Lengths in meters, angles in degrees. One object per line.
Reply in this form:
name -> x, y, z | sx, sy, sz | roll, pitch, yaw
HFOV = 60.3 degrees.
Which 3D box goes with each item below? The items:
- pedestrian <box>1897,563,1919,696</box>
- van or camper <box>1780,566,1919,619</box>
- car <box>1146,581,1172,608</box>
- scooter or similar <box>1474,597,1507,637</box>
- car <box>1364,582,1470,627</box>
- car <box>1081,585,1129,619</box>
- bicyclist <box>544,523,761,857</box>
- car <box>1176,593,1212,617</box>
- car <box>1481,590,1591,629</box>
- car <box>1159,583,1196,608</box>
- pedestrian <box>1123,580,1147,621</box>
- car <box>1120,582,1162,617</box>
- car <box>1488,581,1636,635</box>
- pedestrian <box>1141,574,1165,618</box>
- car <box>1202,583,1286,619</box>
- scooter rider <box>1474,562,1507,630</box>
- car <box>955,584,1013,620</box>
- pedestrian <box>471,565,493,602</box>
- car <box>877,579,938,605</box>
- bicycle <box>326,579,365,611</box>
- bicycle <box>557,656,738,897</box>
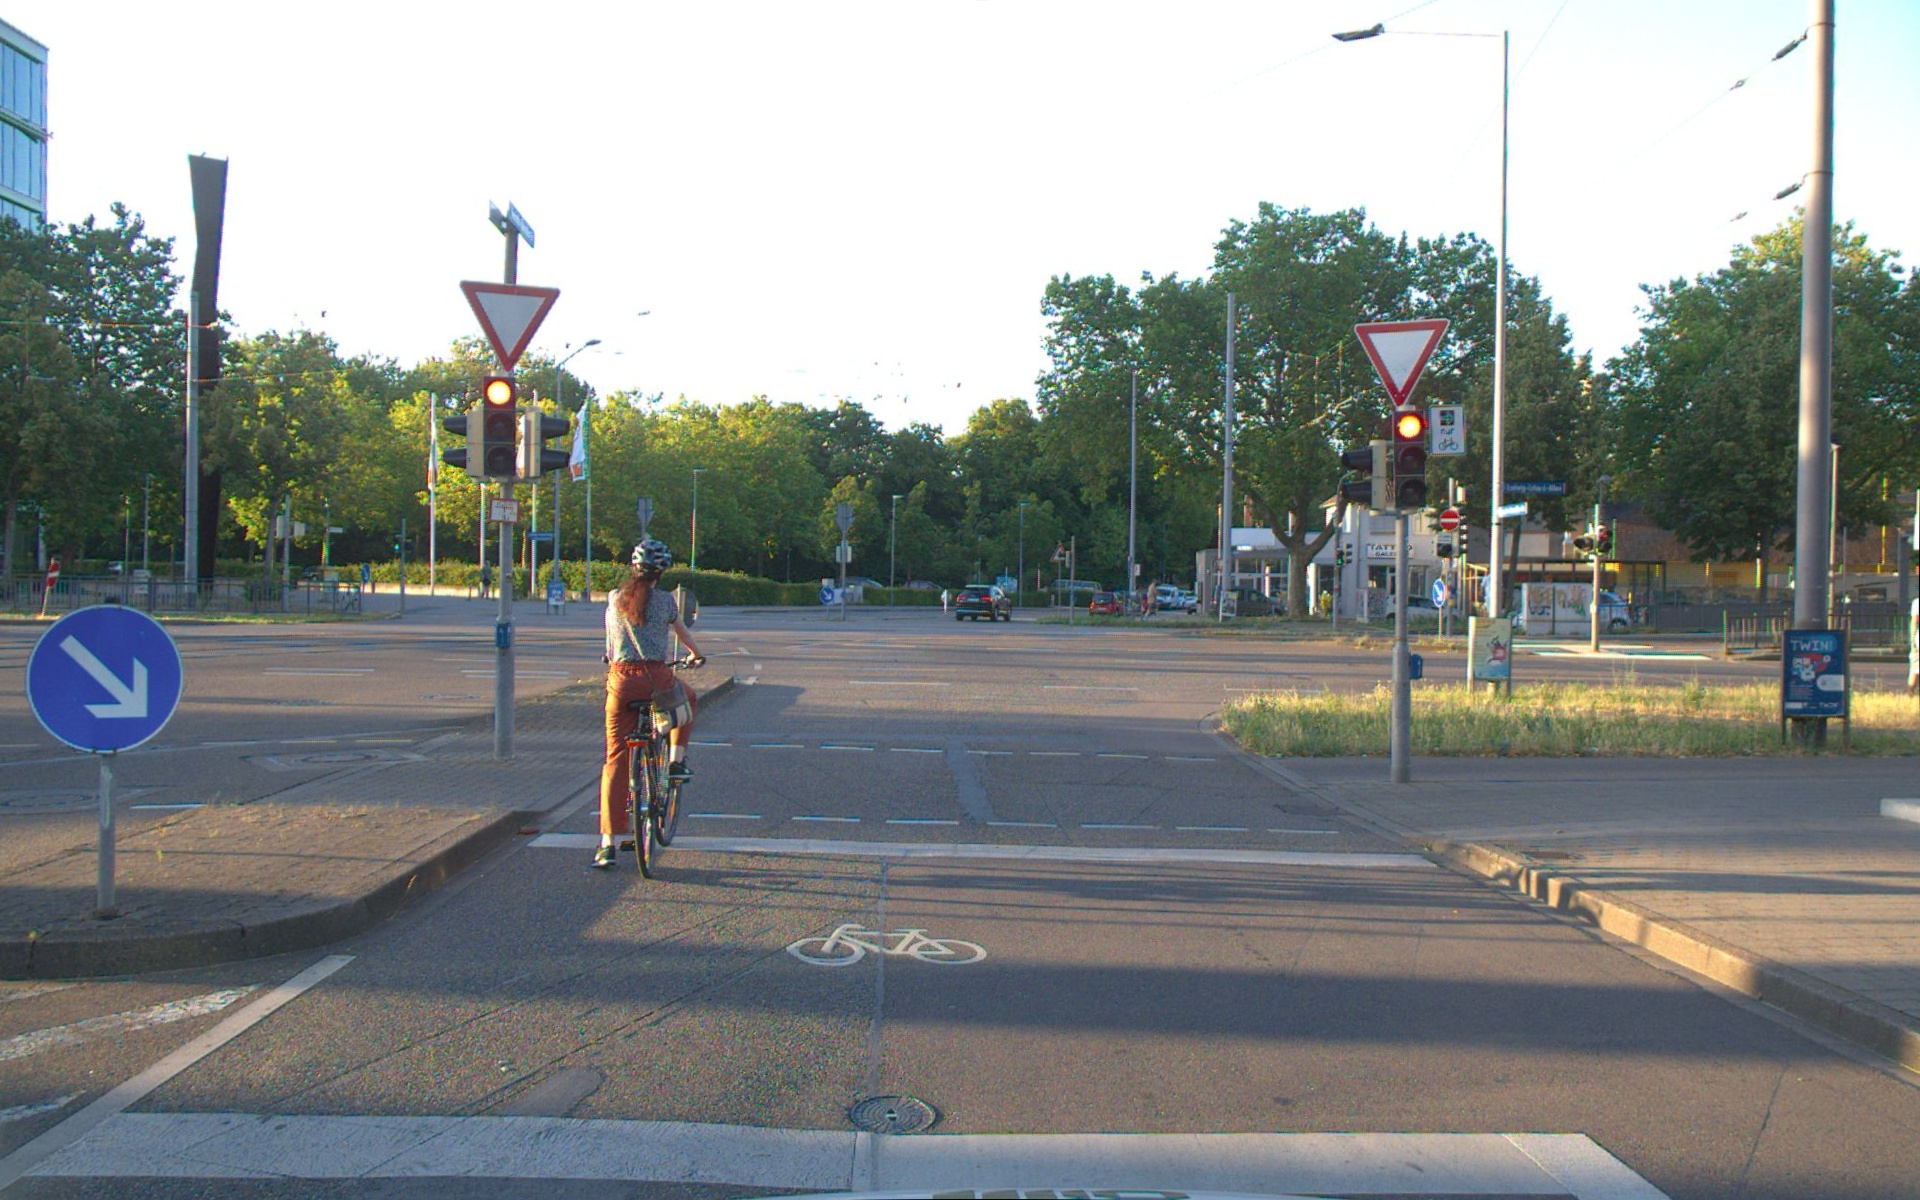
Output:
pedestrian -> 13.586, 0.408, 23.016 | 0.745, 1.822, 0.803 | 1, 0, 16
van or camper -> 43.646, -0.355, 80.374 | 6.426, 2.452, 2.265 | 1, 0, 3
car -> 15.804, -0.446, 131.423 | 1.951, 2.049, 4.003 | 1, 1, 6
scooter or similar -> 14.930, 0.469, 46.569 | 0.499, 1.109, 1.243 | 1, 0, -1
car -> 20.083, 0.180, 72.781 | 4.142, 1.878, 2.001 | 1, 0, 2
car -> 8.440, 0.099, 95.829 | 1.829, 1.907, 3.875 | 1, 1, 20
bicyclist -> -1.683, 0.472, 9.233 | 1.011, 1.748, 0.996 | 1, 0, -1
car -> 16.369, 0.336, 115.696 | 1.875, 1.630, 4.002 | 1, 1, 17
car -> 25.333, 0.415, 72.835 | 4.142, 1.605, 2.001 | 1, 0, 2
car -> 17.870, -0.391, 136.030 | 1.953, 2.049, 3.998 | 1, 1, 24
pedestrian -> 7.222, 0.000, 68.209 | 0.704, 1.667, 0.897 | 1, 0, 23
car -> 11.366, -0.033, 103.489 | 1.875, 2.083, 4.002 | 1, 1, 17
car -> 20.804, 0.265, 57.240 | 4.445, 1.758, 1.860 | 1, 0, -5
pedestrian -> 7.908, -0.156, 67.685 | 0.704, 1.785, 0.897 | 1, 0, 23
car -> 15.310, 0.038, 89.198 | 4.285, 1.867, 1.950 | 1, 1, 4
scooter rider -> 14.906, -0.111, 46.490 | 0.688, 1.887, 0.669 | 1, -1, -1
car -> 1.087, 0.115, 73.855 | 1.718, 1.568, 4.404 | 1, -1, 12
pedestrian -> -23.080, -0.790, 79.903 | 0.884, 1.785, 0.715 | 1, 0, -26
car -> -3.441, -0.532, 109.469 | 3.905, 1.588, 2.000 | 1, 0, 1
bicycle -> -23.141, -0.195, 62.317 | 0.685, 1.156, 2.391 | 1, 1, -3
bicycle -> -1.685, 0.909, 9.219 | 0.621, 1.086, 2.122 | 1, 1, -1
